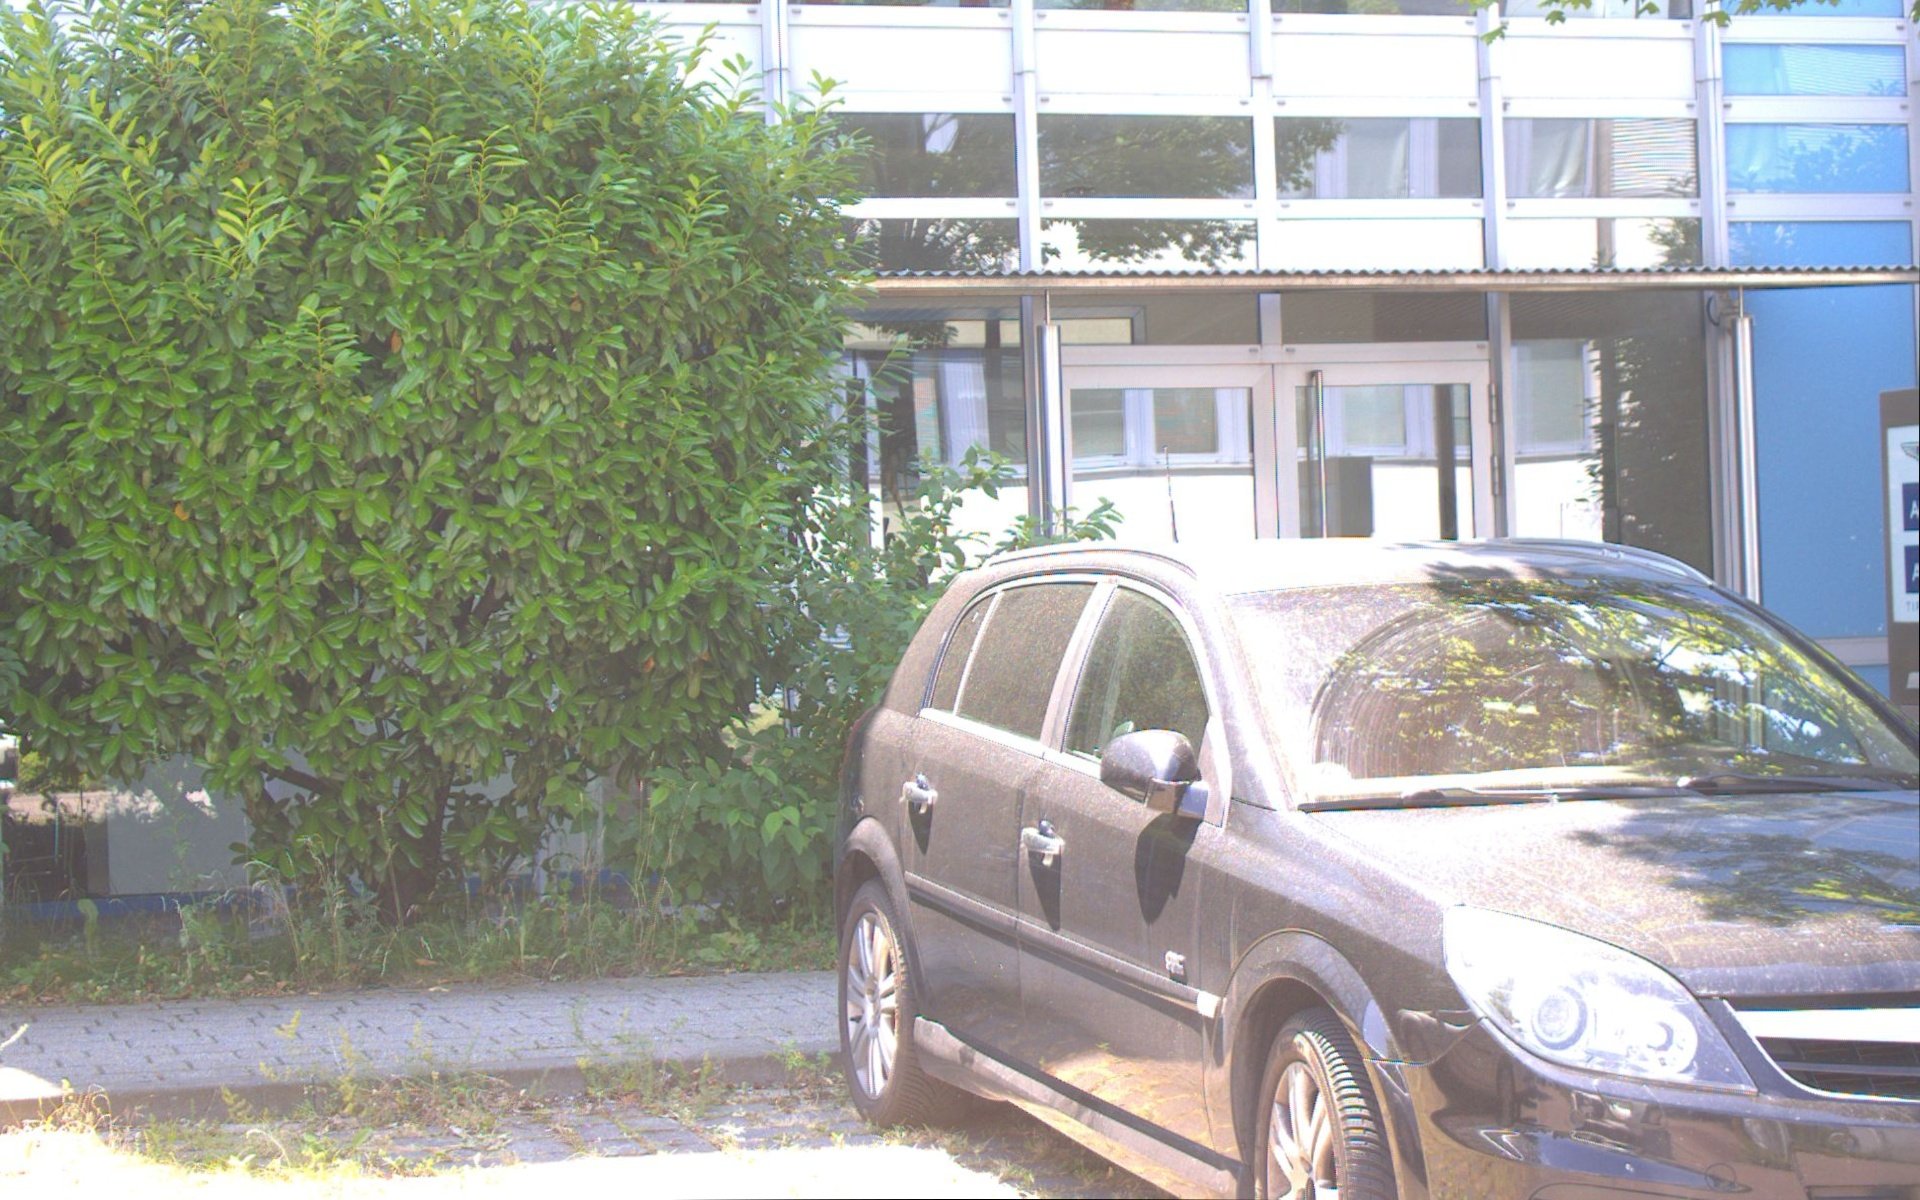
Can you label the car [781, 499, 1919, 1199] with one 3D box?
[{"bbox_3d":[0.998,0.609,7.478,1.757,1.544,4.567,-1,0,-16],"label":"car"}]
